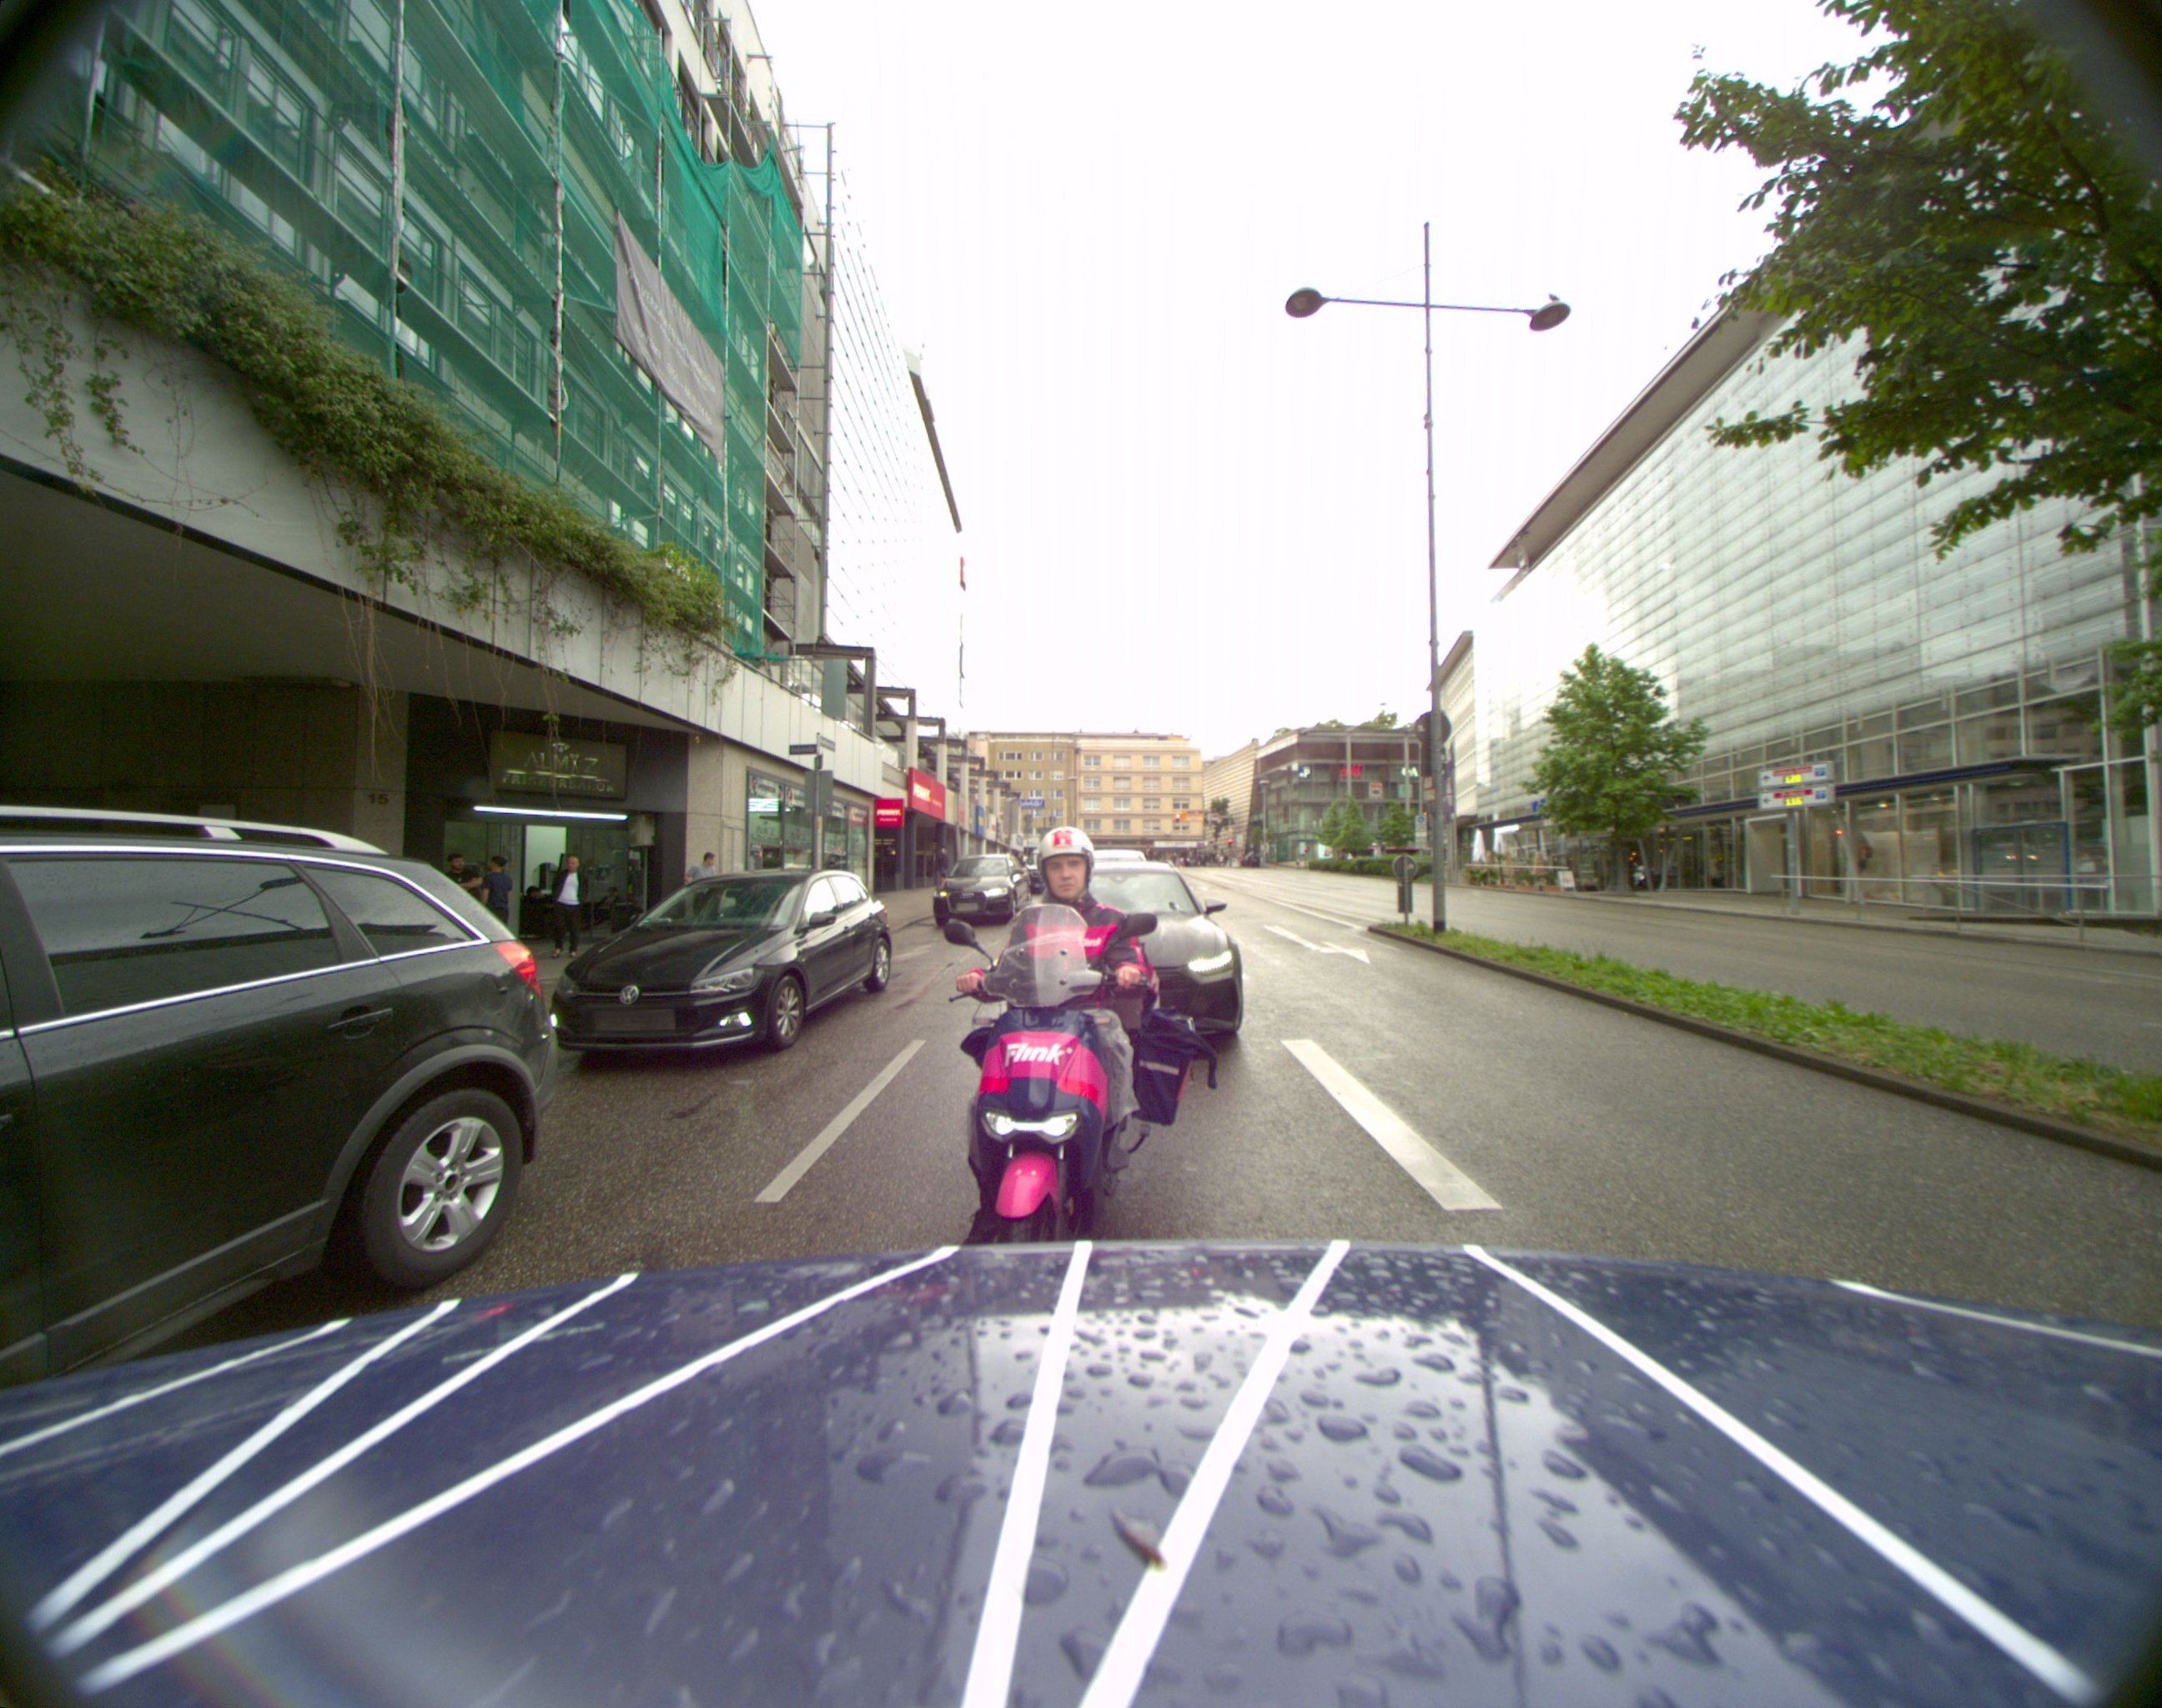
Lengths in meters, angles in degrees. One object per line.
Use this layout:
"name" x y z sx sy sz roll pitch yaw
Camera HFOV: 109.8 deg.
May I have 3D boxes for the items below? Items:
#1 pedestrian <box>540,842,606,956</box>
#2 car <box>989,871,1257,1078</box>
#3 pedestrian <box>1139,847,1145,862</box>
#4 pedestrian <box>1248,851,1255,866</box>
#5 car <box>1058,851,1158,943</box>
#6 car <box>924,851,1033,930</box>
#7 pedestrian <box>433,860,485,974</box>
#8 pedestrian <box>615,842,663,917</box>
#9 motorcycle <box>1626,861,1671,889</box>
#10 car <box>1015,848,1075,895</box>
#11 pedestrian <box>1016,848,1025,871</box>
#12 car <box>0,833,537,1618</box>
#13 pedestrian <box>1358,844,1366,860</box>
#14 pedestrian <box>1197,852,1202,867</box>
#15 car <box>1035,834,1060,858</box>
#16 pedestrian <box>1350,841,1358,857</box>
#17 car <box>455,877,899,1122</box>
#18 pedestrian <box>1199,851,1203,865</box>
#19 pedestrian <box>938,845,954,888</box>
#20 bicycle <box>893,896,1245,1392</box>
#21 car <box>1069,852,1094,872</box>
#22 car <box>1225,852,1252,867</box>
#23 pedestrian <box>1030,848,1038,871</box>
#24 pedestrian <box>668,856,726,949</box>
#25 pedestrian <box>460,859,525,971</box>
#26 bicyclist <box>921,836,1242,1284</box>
"pedestrian" -8.361 0.703 12.508 0.771 1.805 0.745 2 2 44
"car" 0.387 0.926 7.577 1.890 1.391 4.165 -2 -1 2
"pedestrian" 6.481 0.068 80.631 0.634 1.620 0.602 0 1 -1
"pedestrian" 19.268 0.505 86.083 0.626 1.764 0.689 -2 2 5
"car" 0.555 0.739 15.240 1.675 1.520 4.164 -2 1 2
"car" -2.321 0.774 18.269 1.841 1.598 4.164 -2 1 2
"pedestrian" -9.589 0.953 11.718 0.466 1.698 0.484 0 2 42
"pedestrian" -9.713 0.540 16.711 0.676 1.618 0.580 0 2 7
"motorcycle" 27.891 1.019 37.343 1.707 1.319 0.620 0 1 1
"car" -1.347 0.659 30.261 1.988 1.696 4.165 -2 0 2
"pedestrian" -3.968 0.367 49.879 0.510 1.492 0.579 0 2 0
"car" -3.336 0.853 1.234 1.764 1.755 4.164 -2 0 2
"pedestrian" 29.661 -0.203 80.286 0.633 1.620 0.602 1 1 4
"pedestrian" 13.232 0.580 84.910 0.428 1.620 0.602 1 1 5
"car" -2.997 -0.749 68.693 1.605 2.002 3.400 -2 1 7
"pedestrian" 29.116 -0.548 81.091 0.633 1.620 0.602 0 1 2
"car" -3.187 1.031 7.118 1.759 1.495 4.165 -2 -1 2
"pedestrian" 13.722 0.428 87.029 0.428 1.620 0.602 1 1 3
"pedestrian" -5.343 0.491 30.047 0.510 1.669 0.579 0 2 0
"bicycle" -0.019 0.975 3.800 1.034 1.279 2.948 -2 1 1
"car" 0.073 0.688 67.026 1.988 1.696 4.165 -2 0 2
"car" 22.222 0.723 107.121 1.994 2.002 4.597 1 1 37
"pedestrian" -3.100 0.364 50.207 0.510 1.492 0.579 0 2 0
"pedestrian" -7.069 0.868 14.017 0.639 1.633 0.733 -2 2 -3
"pedestrian" -8.794 0.887 11.380 0.640 1.586 0.576 -3 2 -32
"bicyclist" 0.009 0.714 3.048 1.063 1.534 0.825 -2 2 0
